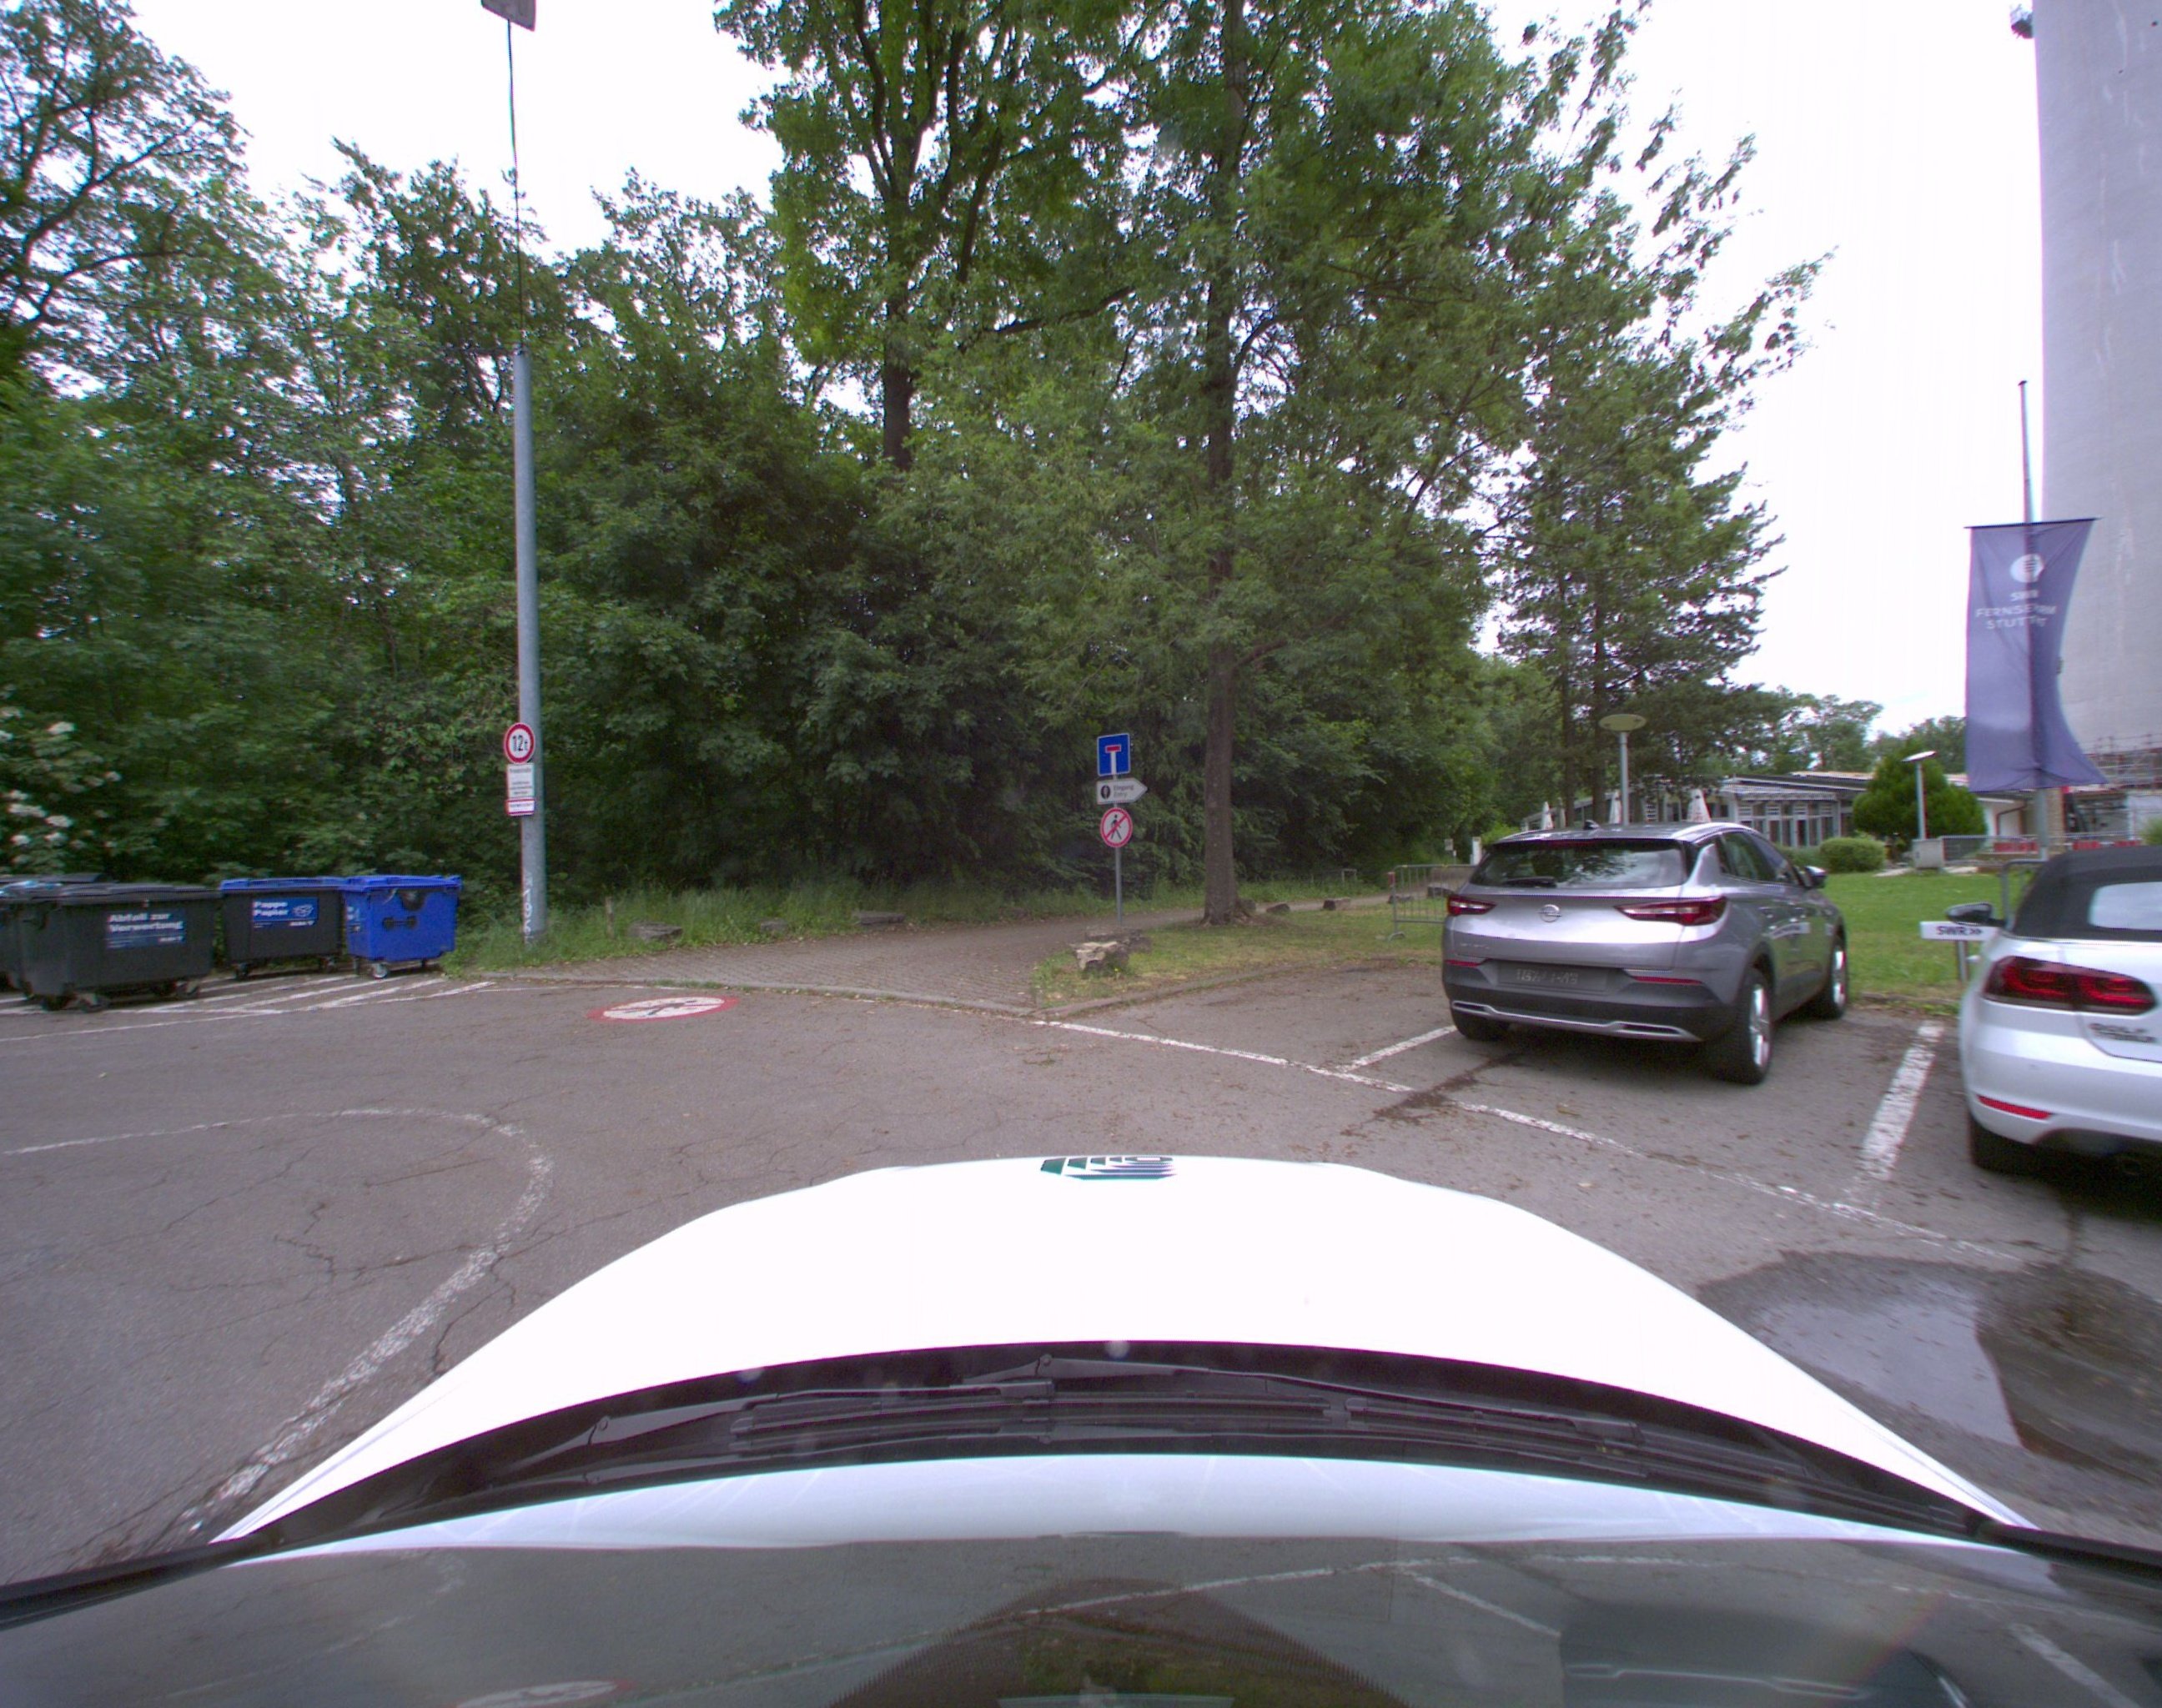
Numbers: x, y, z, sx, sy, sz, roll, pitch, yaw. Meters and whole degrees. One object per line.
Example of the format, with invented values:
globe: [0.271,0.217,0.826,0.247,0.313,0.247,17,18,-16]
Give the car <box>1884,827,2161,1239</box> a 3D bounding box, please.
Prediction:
car: [5.457,0.581,3.900,4.020,1.428,1.877,-1,0,-39]

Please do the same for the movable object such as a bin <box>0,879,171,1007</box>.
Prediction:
movable object such as a bin: [-11.663,0.973,9.410,1.114,1.314,1.190,-1,0,20]

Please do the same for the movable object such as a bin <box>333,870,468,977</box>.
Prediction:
movable object such as a bin: [-9.264,0.894,11.088,1.241,1.325,1.154,-1,0,37]

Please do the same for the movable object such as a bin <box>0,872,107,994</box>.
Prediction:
movable object such as a bin: [-13.145,0.956,10.097,1.136,1.425,1.114,-1,0,-37]

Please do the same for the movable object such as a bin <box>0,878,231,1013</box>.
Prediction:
movable object such as a bin: [-10.568,0.945,8.956,1.159,1.307,1.320,-1,0,20]

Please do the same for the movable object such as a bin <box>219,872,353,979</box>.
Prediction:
movable object such as a bin: [-10.834,0.922,11.128,1.247,1.320,1.113,-1,0,-45]

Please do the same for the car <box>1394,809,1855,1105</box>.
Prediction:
car: [4.393,0.518,6.352,4.020,1.585,1.877,-1,0,-39]
